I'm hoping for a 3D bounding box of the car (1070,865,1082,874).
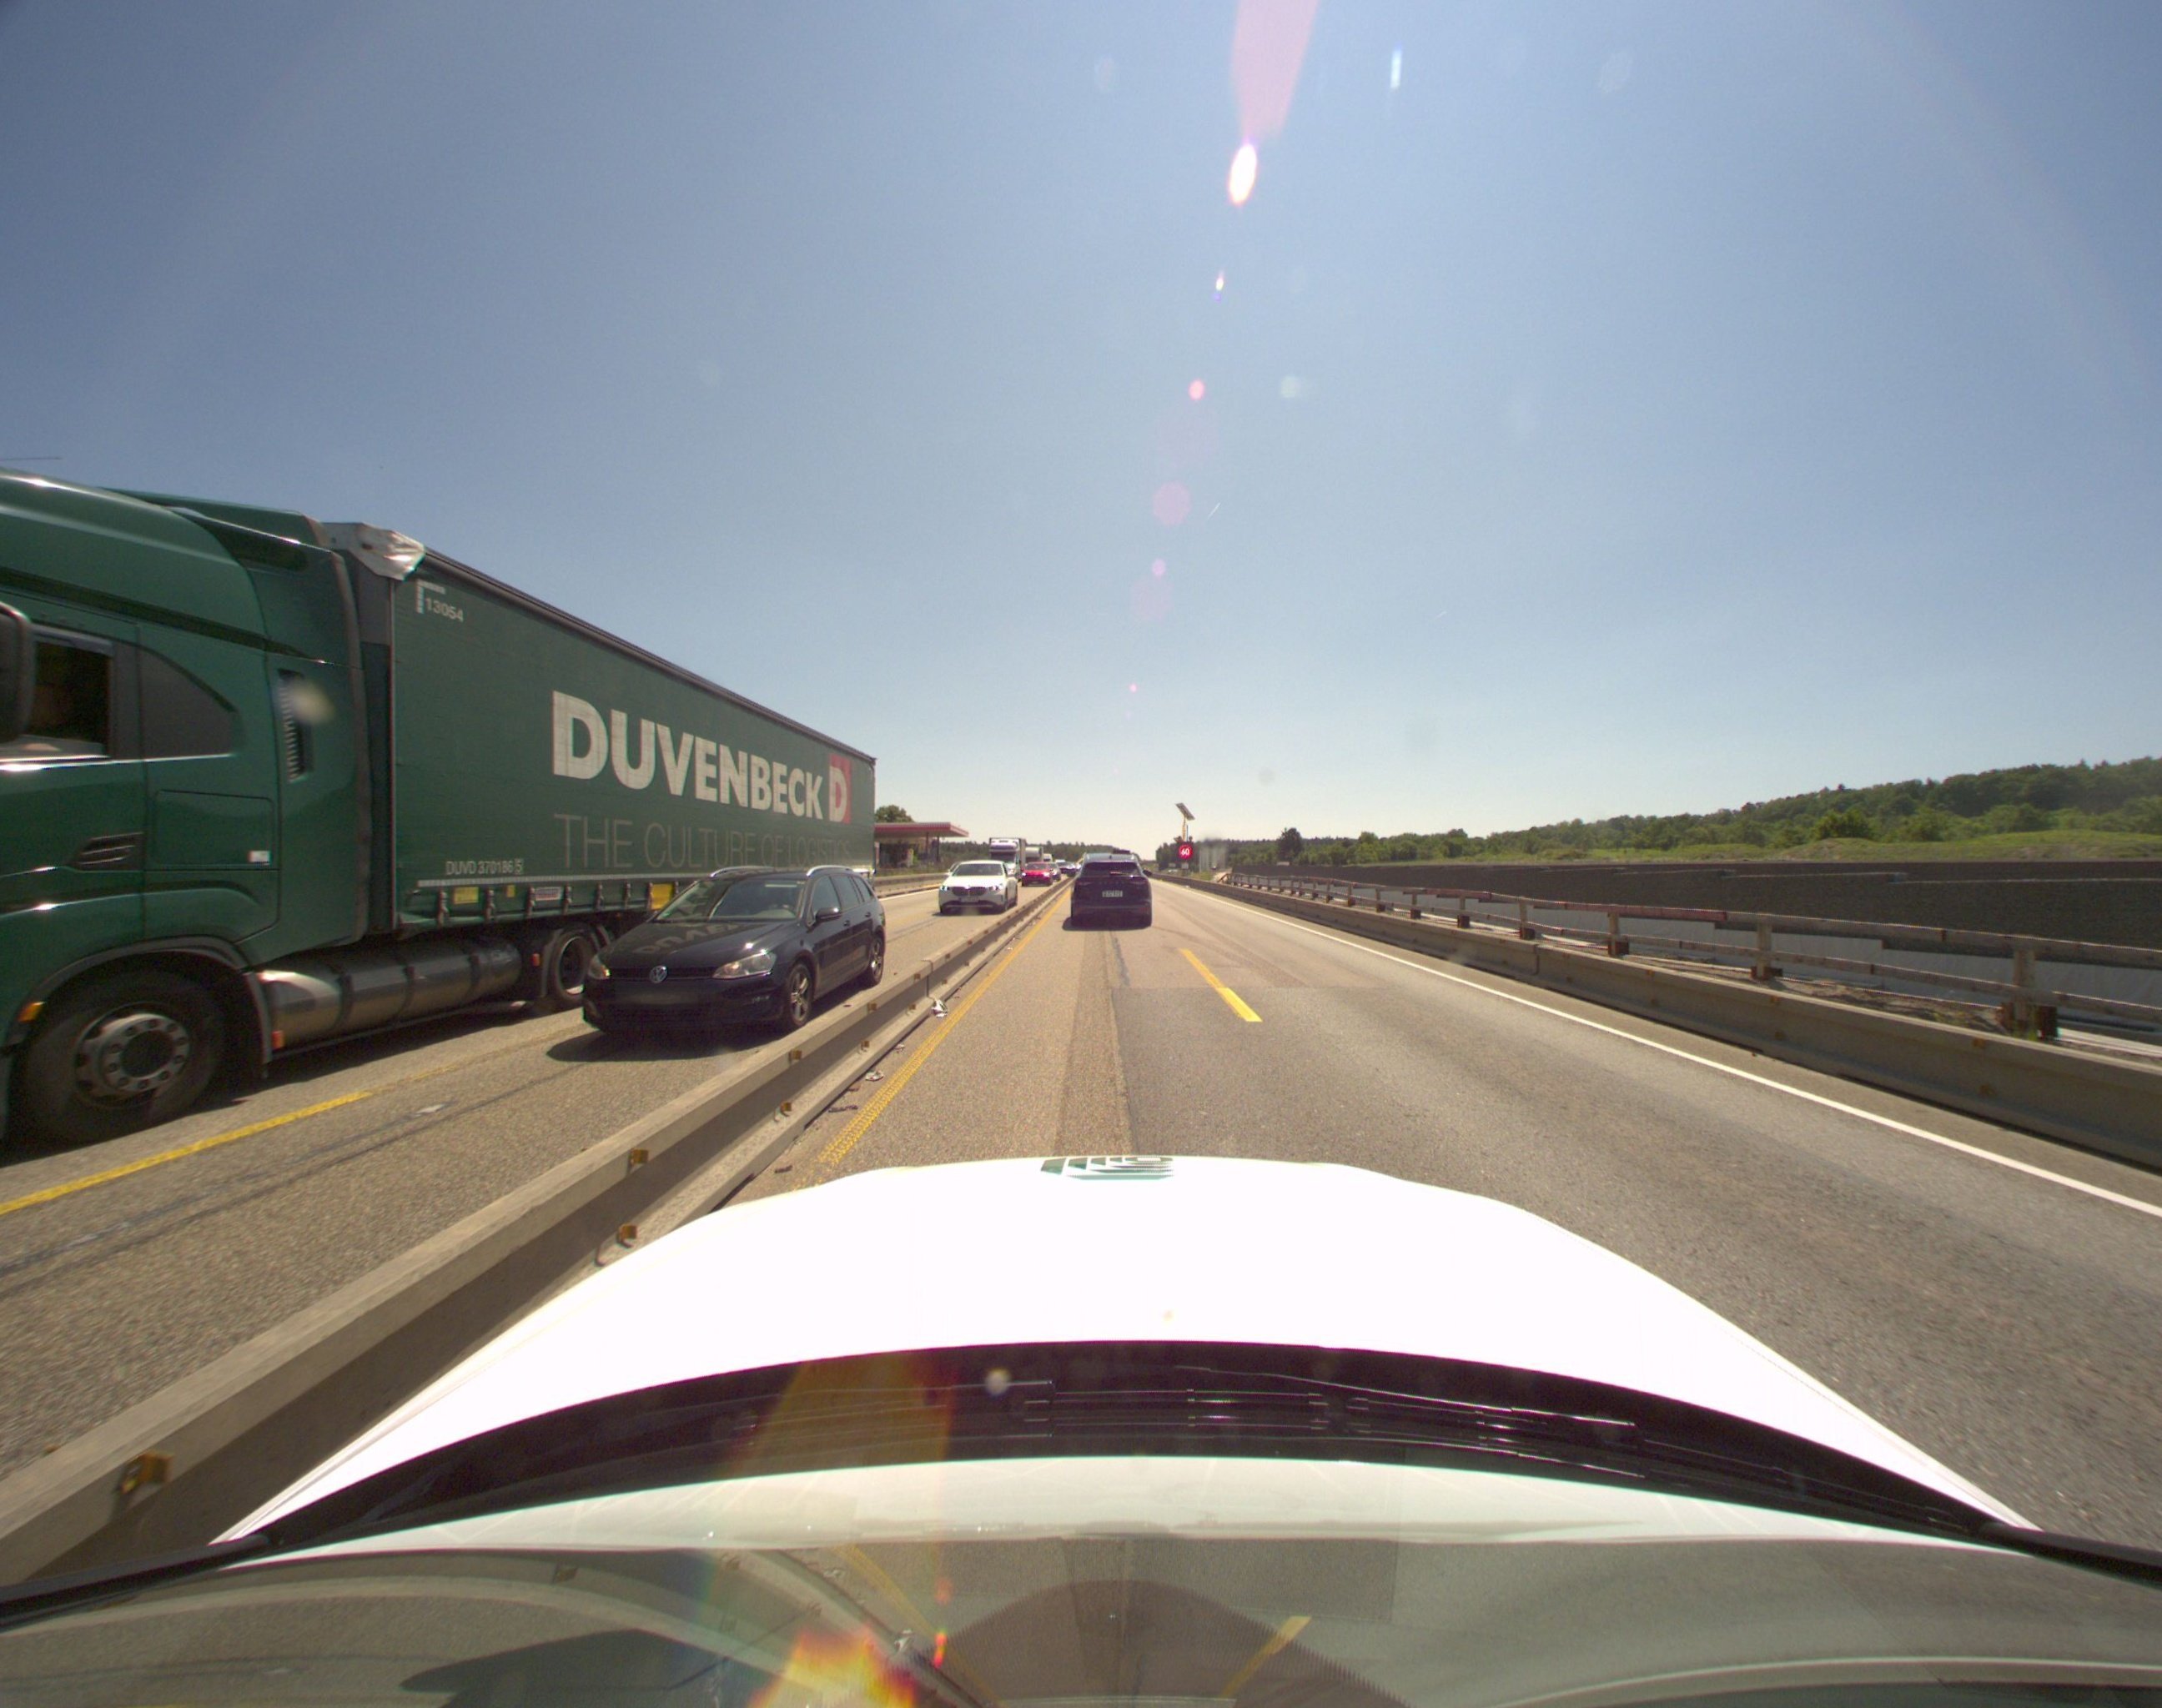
[{"bbox_3d":[-0.835,2.640,138.986,1.838,1.641,4.001,0,-1,1],"label":"car"}]

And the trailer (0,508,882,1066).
[{"bbox_3d":[-6.513,-0.473,13.068,2.996,4.198,13.852,0,0,1],"label":"trailer"}]

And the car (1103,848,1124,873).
[{"bbox_3d":[5.932,1.239,149.956,3.424,4.101,9.198,4,-1,2],"label":"car"}]

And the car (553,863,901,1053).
[{"bbox_3d":[-3.292,0.851,8.605,1.760,1.473,4.228,-1,0,1],"label":"car"}]

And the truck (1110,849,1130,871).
[{"bbox_3d":[5.222,0.798,110.410,2.663,2.946,5.622,0,-1,2],"label":"truck"}]

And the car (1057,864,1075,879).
[{"bbox_3d":[-1.769,2.089,96.424,1.935,1.658,4.745,-1,-1,1],"label":"car"}]

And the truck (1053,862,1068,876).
[{"bbox_3d":[-3.989,2.972,159.330,2.471,2.824,8.129,0,-1,1],"label":"truck"}]

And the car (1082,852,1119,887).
[{"bbox_3d":[1.063,0.889,46.268,1.987,1.844,3.999,2,-2,0],"label":"car"}]

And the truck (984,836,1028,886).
[{"bbox_3d":[-5.332,0.477,59.063,2.381,3.385,7.715,0,-1,1],"label":"truck"}]

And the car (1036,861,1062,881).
[{"bbox_3d":[-2.342,1.232,61.179,1.676,1.429,4.202,-1,-1,1],"label":"car"}]

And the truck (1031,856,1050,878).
[{"bbox_3d":[-5.365,1.696,108.101,2.232,2.786,6.490,0,-1,0],"label":"truck"}]

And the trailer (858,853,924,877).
[{"bbox_3d":[-34.352,2.042,148.174,3.120,4.112,14.248,-2,-2,28],"label":"trailer"}]

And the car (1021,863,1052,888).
[{"bbox_3d":[-2.640,1.249,49.215,1.643,1.434,4.000,-1,-1,0],"label":"car"}]

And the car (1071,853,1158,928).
[{"bbox_3d":[0.776,0.793,19.373,1.835,1.582,4.001,-1,0,2],"label":"car"}]

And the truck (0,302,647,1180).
[{"bbox_3d":[-6.628,-0.520,6.383,2.996,4.203,6.284,0,0,1],"label":"truck"}]

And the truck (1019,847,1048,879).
[{"bbox_3d":[-5.195,0.952,90.003,2.486,3.292,8.117,-1,0,1],"label":"truck"}]

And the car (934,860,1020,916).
[{"bbox_3d":[-3.016,0.938,24.652,1.889,1.493,4.760,-1,0,1],"label":"car"}]
